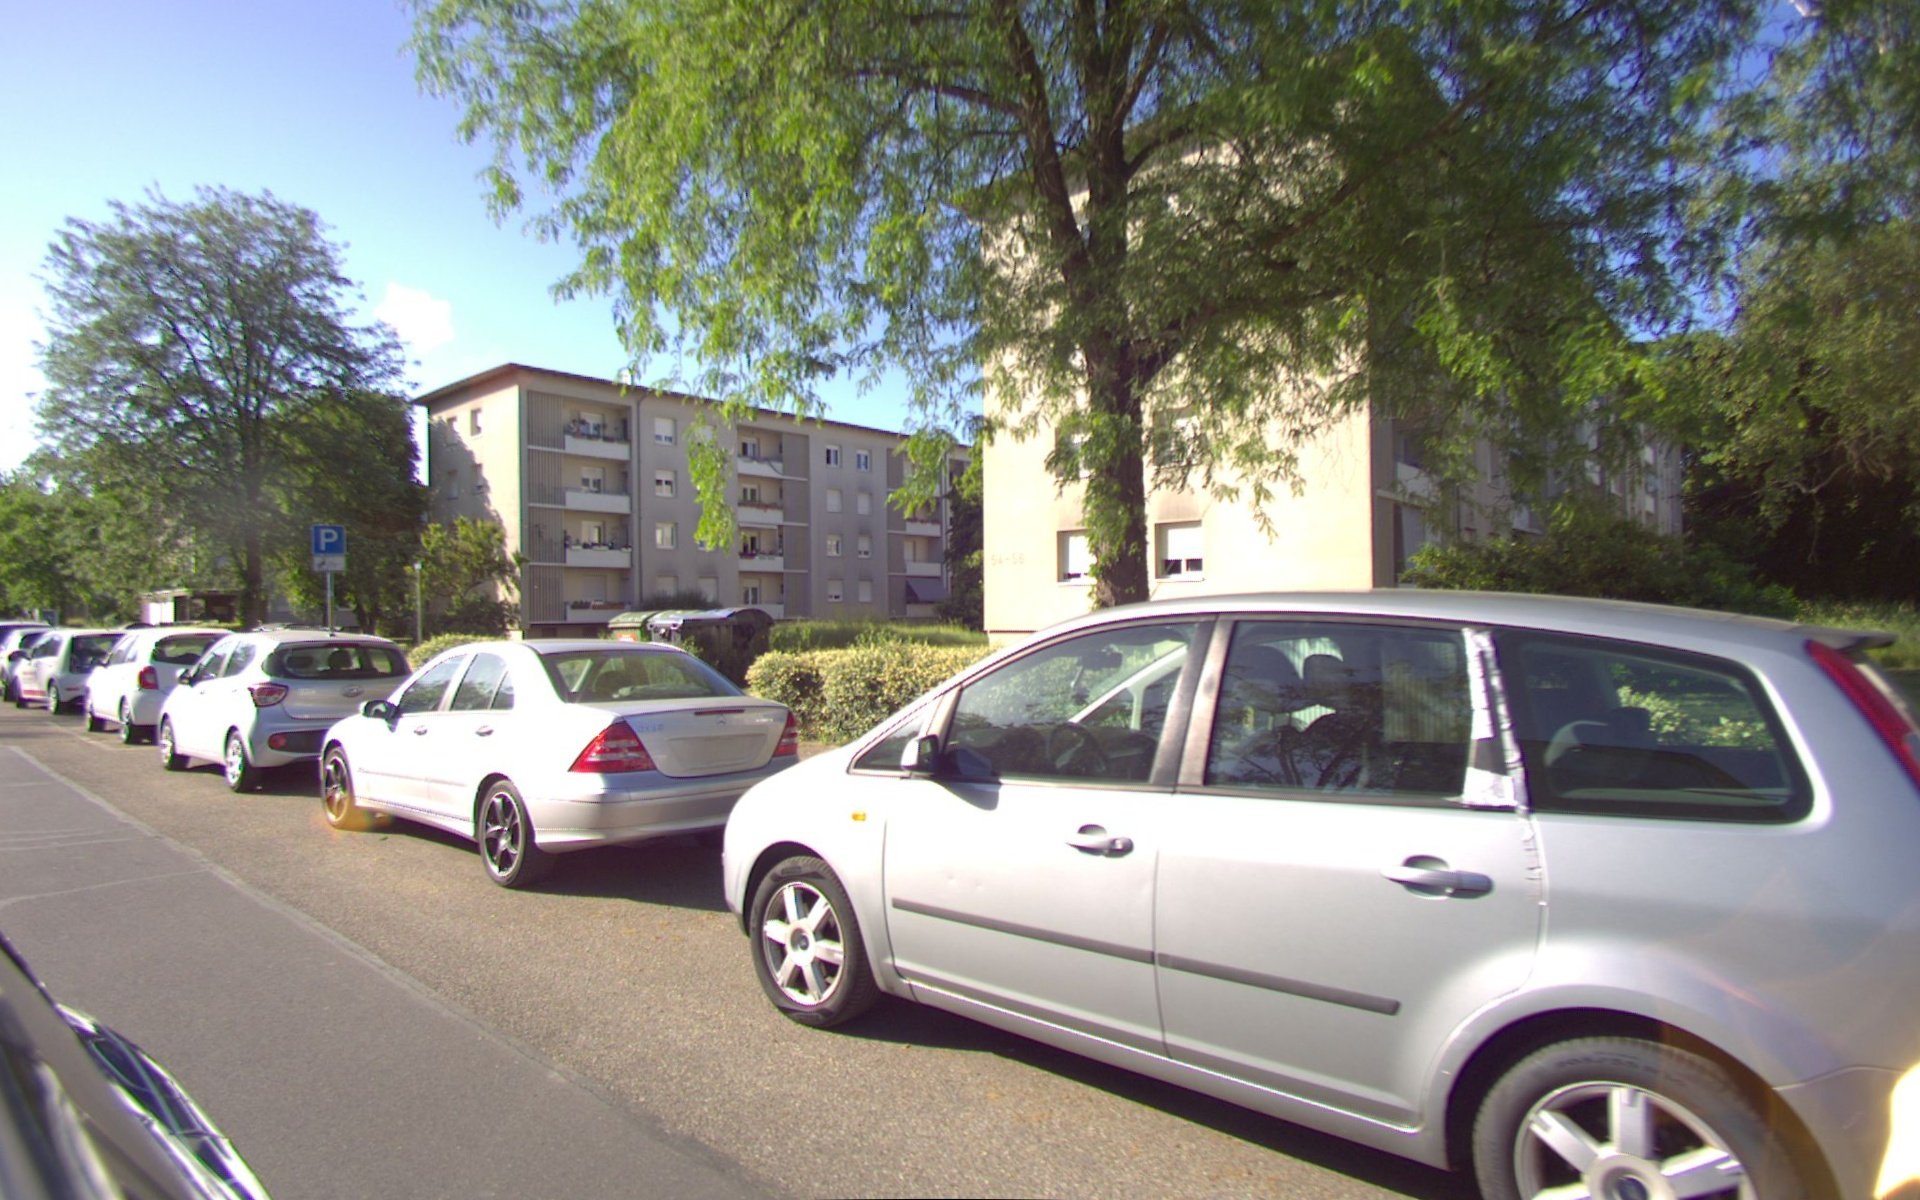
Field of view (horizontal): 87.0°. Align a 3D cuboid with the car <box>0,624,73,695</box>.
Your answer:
[{"bbox_3d":[-23.888,1.444,25.383,4.346,1.652,1.883,-2,-2,41],"label":"car"}]

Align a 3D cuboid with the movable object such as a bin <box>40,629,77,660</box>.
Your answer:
[{"bbox_3d":[-42.972,2.096,48.230,1.343,1.418,1.165,-2,-1,42],"label":"movable object such as a bin"}]

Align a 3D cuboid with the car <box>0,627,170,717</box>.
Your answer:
[{"bbox_3d":[-16.420,1.287,18.910,3.529,1.525,1.648,-2,-2,35],"label":"car"}]

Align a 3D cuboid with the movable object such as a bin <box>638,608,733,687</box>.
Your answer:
[{"bbox_3d":[-5.439,0.920,20.026,1.462,1.431,1.165,-2,1,43],"label":"movable object such as a bin"}]

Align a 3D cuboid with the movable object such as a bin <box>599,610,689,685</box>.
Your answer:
[{"bbox_3d":[-6.568,0.970,21.019,1.462,1.431,1.165,-2,1,43],"label":"movable object such as a bin"}]

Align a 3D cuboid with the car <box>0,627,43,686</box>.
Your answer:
[{"bbox_3d":[-27.780,1.613,29.114,3.532,1.618,1.619,-2,-2,40],"label":"car"}]

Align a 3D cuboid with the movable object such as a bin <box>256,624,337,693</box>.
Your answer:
[{"bbox_3d":[-14.340,1.237,21.869,1.243,1.368,1.124,-2,1,42],"label":"movable object such as a bin"}]

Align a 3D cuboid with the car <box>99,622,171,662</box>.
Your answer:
[{"bbox_3d":[-34.139,1.712,41.847,3.996,1.537,1.555,-2,0,39],"label":"car"}]

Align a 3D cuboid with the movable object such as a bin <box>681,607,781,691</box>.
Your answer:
[{"bbox_3d":[-4.296,0.893,18.976,1.462,1.431,1.165,-2,1,43],"label":"movable object such as a bin"}]

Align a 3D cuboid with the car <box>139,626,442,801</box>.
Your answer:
[{"bbox_3d":[-7.228,1.064,10.799,3.814,1.517,1.670,-2,-2,40],"label":"car"}]

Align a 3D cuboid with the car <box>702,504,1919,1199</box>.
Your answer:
[{"bbox_3d":[1.063,0.705,3.358,3.982,1.612,1.692,-2,-3,40],"label":"car"}]

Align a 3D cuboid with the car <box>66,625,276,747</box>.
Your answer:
[{"bbox_3d":[-11.564,1.155,14.755,3.888,1.546,1.669,-2,-2,41],"label":"car"}]

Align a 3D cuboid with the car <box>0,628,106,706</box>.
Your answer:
[{"bbox_3d":[-19.951,1.390,21.976,3.944,1.525,1.645,-2,-2,42],"label":"car"}]

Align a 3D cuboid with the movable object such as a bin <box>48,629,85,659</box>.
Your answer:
[{"bbox_3d":[-41.873,2.054,47.438,1.343,1.350,1.165,-2,-1,42],"label":"movable object such as a bin"}]

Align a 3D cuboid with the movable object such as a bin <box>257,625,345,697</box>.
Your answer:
[{"bbox_3d":[-13.544,1.230,20.803,1.343,1.350,1.165,-2,1,42],"label":"movable object such as a bin"}]

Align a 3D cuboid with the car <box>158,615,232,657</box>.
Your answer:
[{"bbox_3d":[-32.372,1.515,42.791,3.996,1.653,1.555,-2,0,39],"label":"car"}]

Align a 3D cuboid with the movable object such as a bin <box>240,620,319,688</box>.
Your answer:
[{"bbox_3d":[-15.318,1.195,22.772,1.441,1.393,1.124,-2,1,42],"label":"movable object such as a bin"}]

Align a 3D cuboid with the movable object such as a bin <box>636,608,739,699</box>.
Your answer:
[{"bbox_3d":[-4.744,0.907,17.621,1.360,1.431,1.122,-2,1,42],"label":"movable object such as a bin"}]

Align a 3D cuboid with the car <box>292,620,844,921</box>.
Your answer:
[{"bbox_3d":[-2.972,0.923,7.108,4.523,1.476,1.669,-2,-3,41],"label":"car"}]

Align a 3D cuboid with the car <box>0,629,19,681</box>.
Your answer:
[{"bbox_3d":[-31.907,1.768,32.752,3.967,1.618,1.735,-2,-3,42],"label":"car"}]
